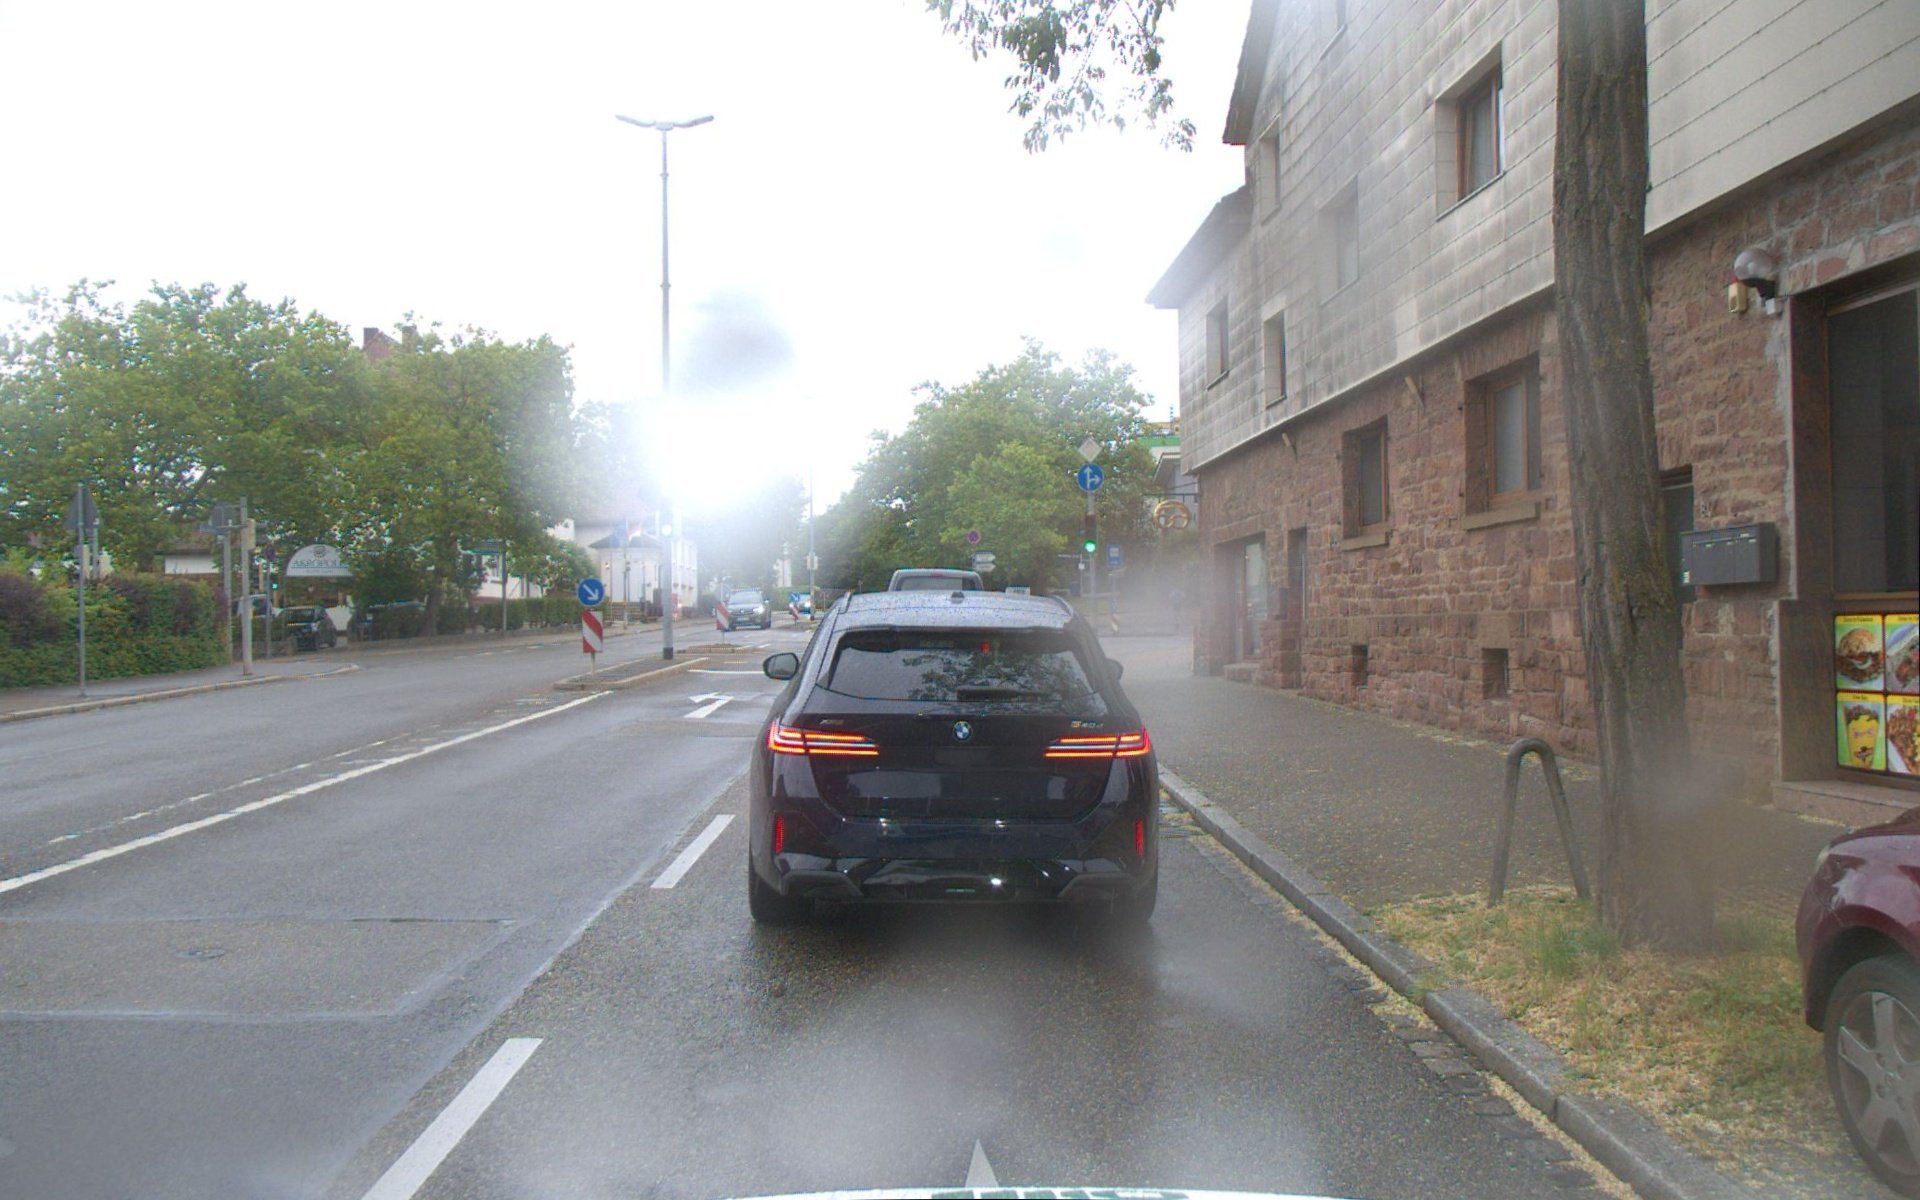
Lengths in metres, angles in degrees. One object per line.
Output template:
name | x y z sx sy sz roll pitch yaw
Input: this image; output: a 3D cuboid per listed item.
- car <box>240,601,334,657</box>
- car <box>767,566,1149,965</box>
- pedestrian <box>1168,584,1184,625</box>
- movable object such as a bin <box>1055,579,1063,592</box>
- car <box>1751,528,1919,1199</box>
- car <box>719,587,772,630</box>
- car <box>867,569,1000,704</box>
car | -23.132 0.979 57.010 1.772 1.578 4.000 1 4 -3
car | -0.114 0.667 8.304 1.494 1.561 3.529 1 0 -4
pedestrian | 8.703 0.195 66.611 0.588 1.645 0.526 1 -1 6
movable object such as a bin | 6.893 -1.009 115.373 0.440 0.921 0.463 1 -1 14
car | 3.050 0.577 2.665 1.578 1.530 3.753 1 -2 -4
car | -8.765 0.320 67.806 1.861 1.604 4.499 -1 1 -4
car | -0.467 0.514 24.665 1.776 1.840 3.753 1 0 -4
